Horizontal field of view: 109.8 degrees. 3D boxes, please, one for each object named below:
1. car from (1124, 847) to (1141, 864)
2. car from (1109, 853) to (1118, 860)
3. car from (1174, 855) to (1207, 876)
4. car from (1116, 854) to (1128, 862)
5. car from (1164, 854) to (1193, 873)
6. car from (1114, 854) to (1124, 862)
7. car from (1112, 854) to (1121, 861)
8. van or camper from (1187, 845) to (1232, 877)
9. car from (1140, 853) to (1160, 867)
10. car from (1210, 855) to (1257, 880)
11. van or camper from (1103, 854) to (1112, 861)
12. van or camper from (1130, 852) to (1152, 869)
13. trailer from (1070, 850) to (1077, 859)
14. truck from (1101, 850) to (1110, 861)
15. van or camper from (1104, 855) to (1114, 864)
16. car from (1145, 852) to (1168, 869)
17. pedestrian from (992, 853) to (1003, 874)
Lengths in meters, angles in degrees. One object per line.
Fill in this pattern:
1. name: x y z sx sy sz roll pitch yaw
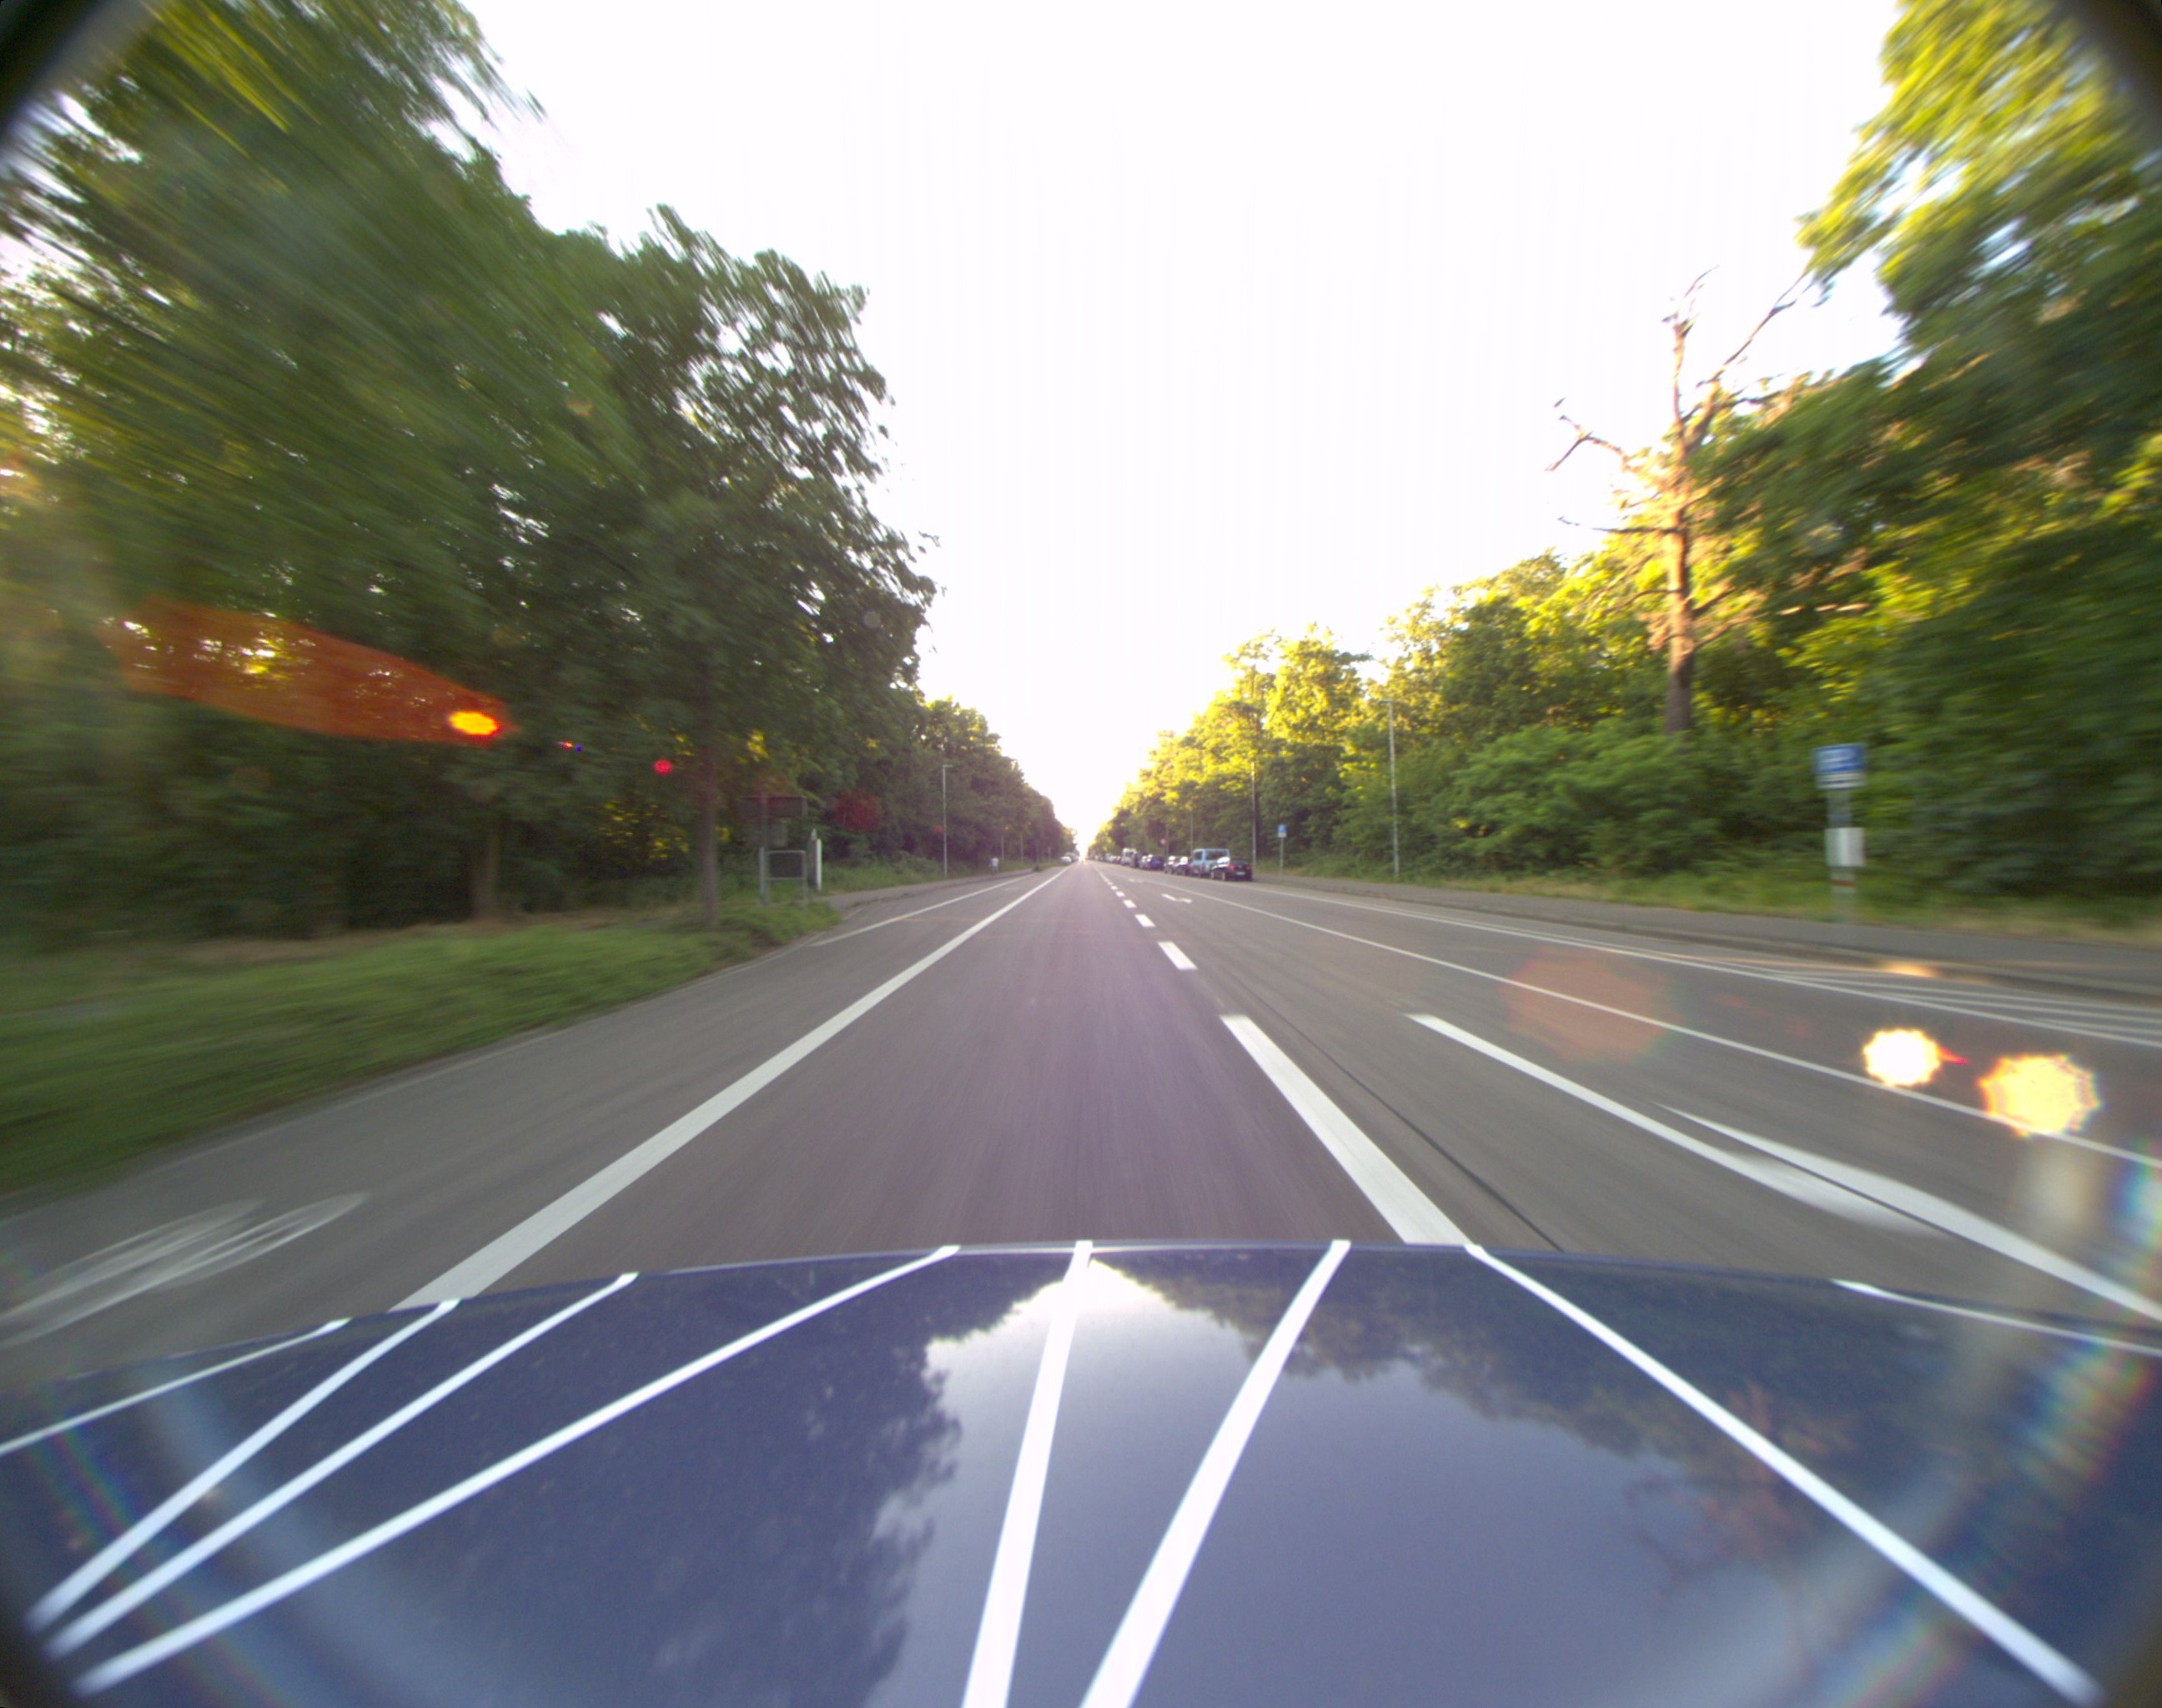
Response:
1. car: 7.836 0.213 116.847 2.084 2.591 7.088 2 0 0
2. car: 7.497 0.609 173.266 1.699 1.636 4.572 1 0 -2
3. car: 8.409 0.864 58.630 1.547 1.484 3.970 0 0 -6
4. car: 7.515 0.745 140.326 1.850 1.454 4.229 1 0 -2
5. car: 8.139 0.768 63.910 1.621 1.525 4.038 0 0 -5
6. car: 7.472 0.866 150.432 1.716 1.500 3.657 1 0 0
7. car: 7.317 0.739 156.251 1.601 1.386 4.051 0 0 0
8. van or camper: 8.928 0.466 53.115 2.037 2.082 5.012 0 0 -3
9. car: 7.510 0.679 82.768 1.673 1.492 4.245 0 0 -2
10. car: 9.420 0.812 47.230 1.692 1.453 4.241 0 0 -5
11. van or camper: 7.656 1.142 221.148 2.034 1.945 4.691 2 0 -2
12. van or camper: 7.288 0.817 92.973 2.008 2.006 5.460 1 0 -2
13. trailer: -2.057 0.106 220.019 1.866 2.633 4.269 -2 0 0
14. truck: 7.533 0.539 234.404 2.226 3.188 6.271 2 0 -1
15. van or camper: 7.477 1.542 201.567 2.116 2.376 6.381 2 0 -1
16. car: 7.681 0.658 77.661 1.749 1.702 4.522 0 0 -2
17. pedestrian: -7.340 0.832 66.978 0.840 1.741 0.726 -1 1 1
